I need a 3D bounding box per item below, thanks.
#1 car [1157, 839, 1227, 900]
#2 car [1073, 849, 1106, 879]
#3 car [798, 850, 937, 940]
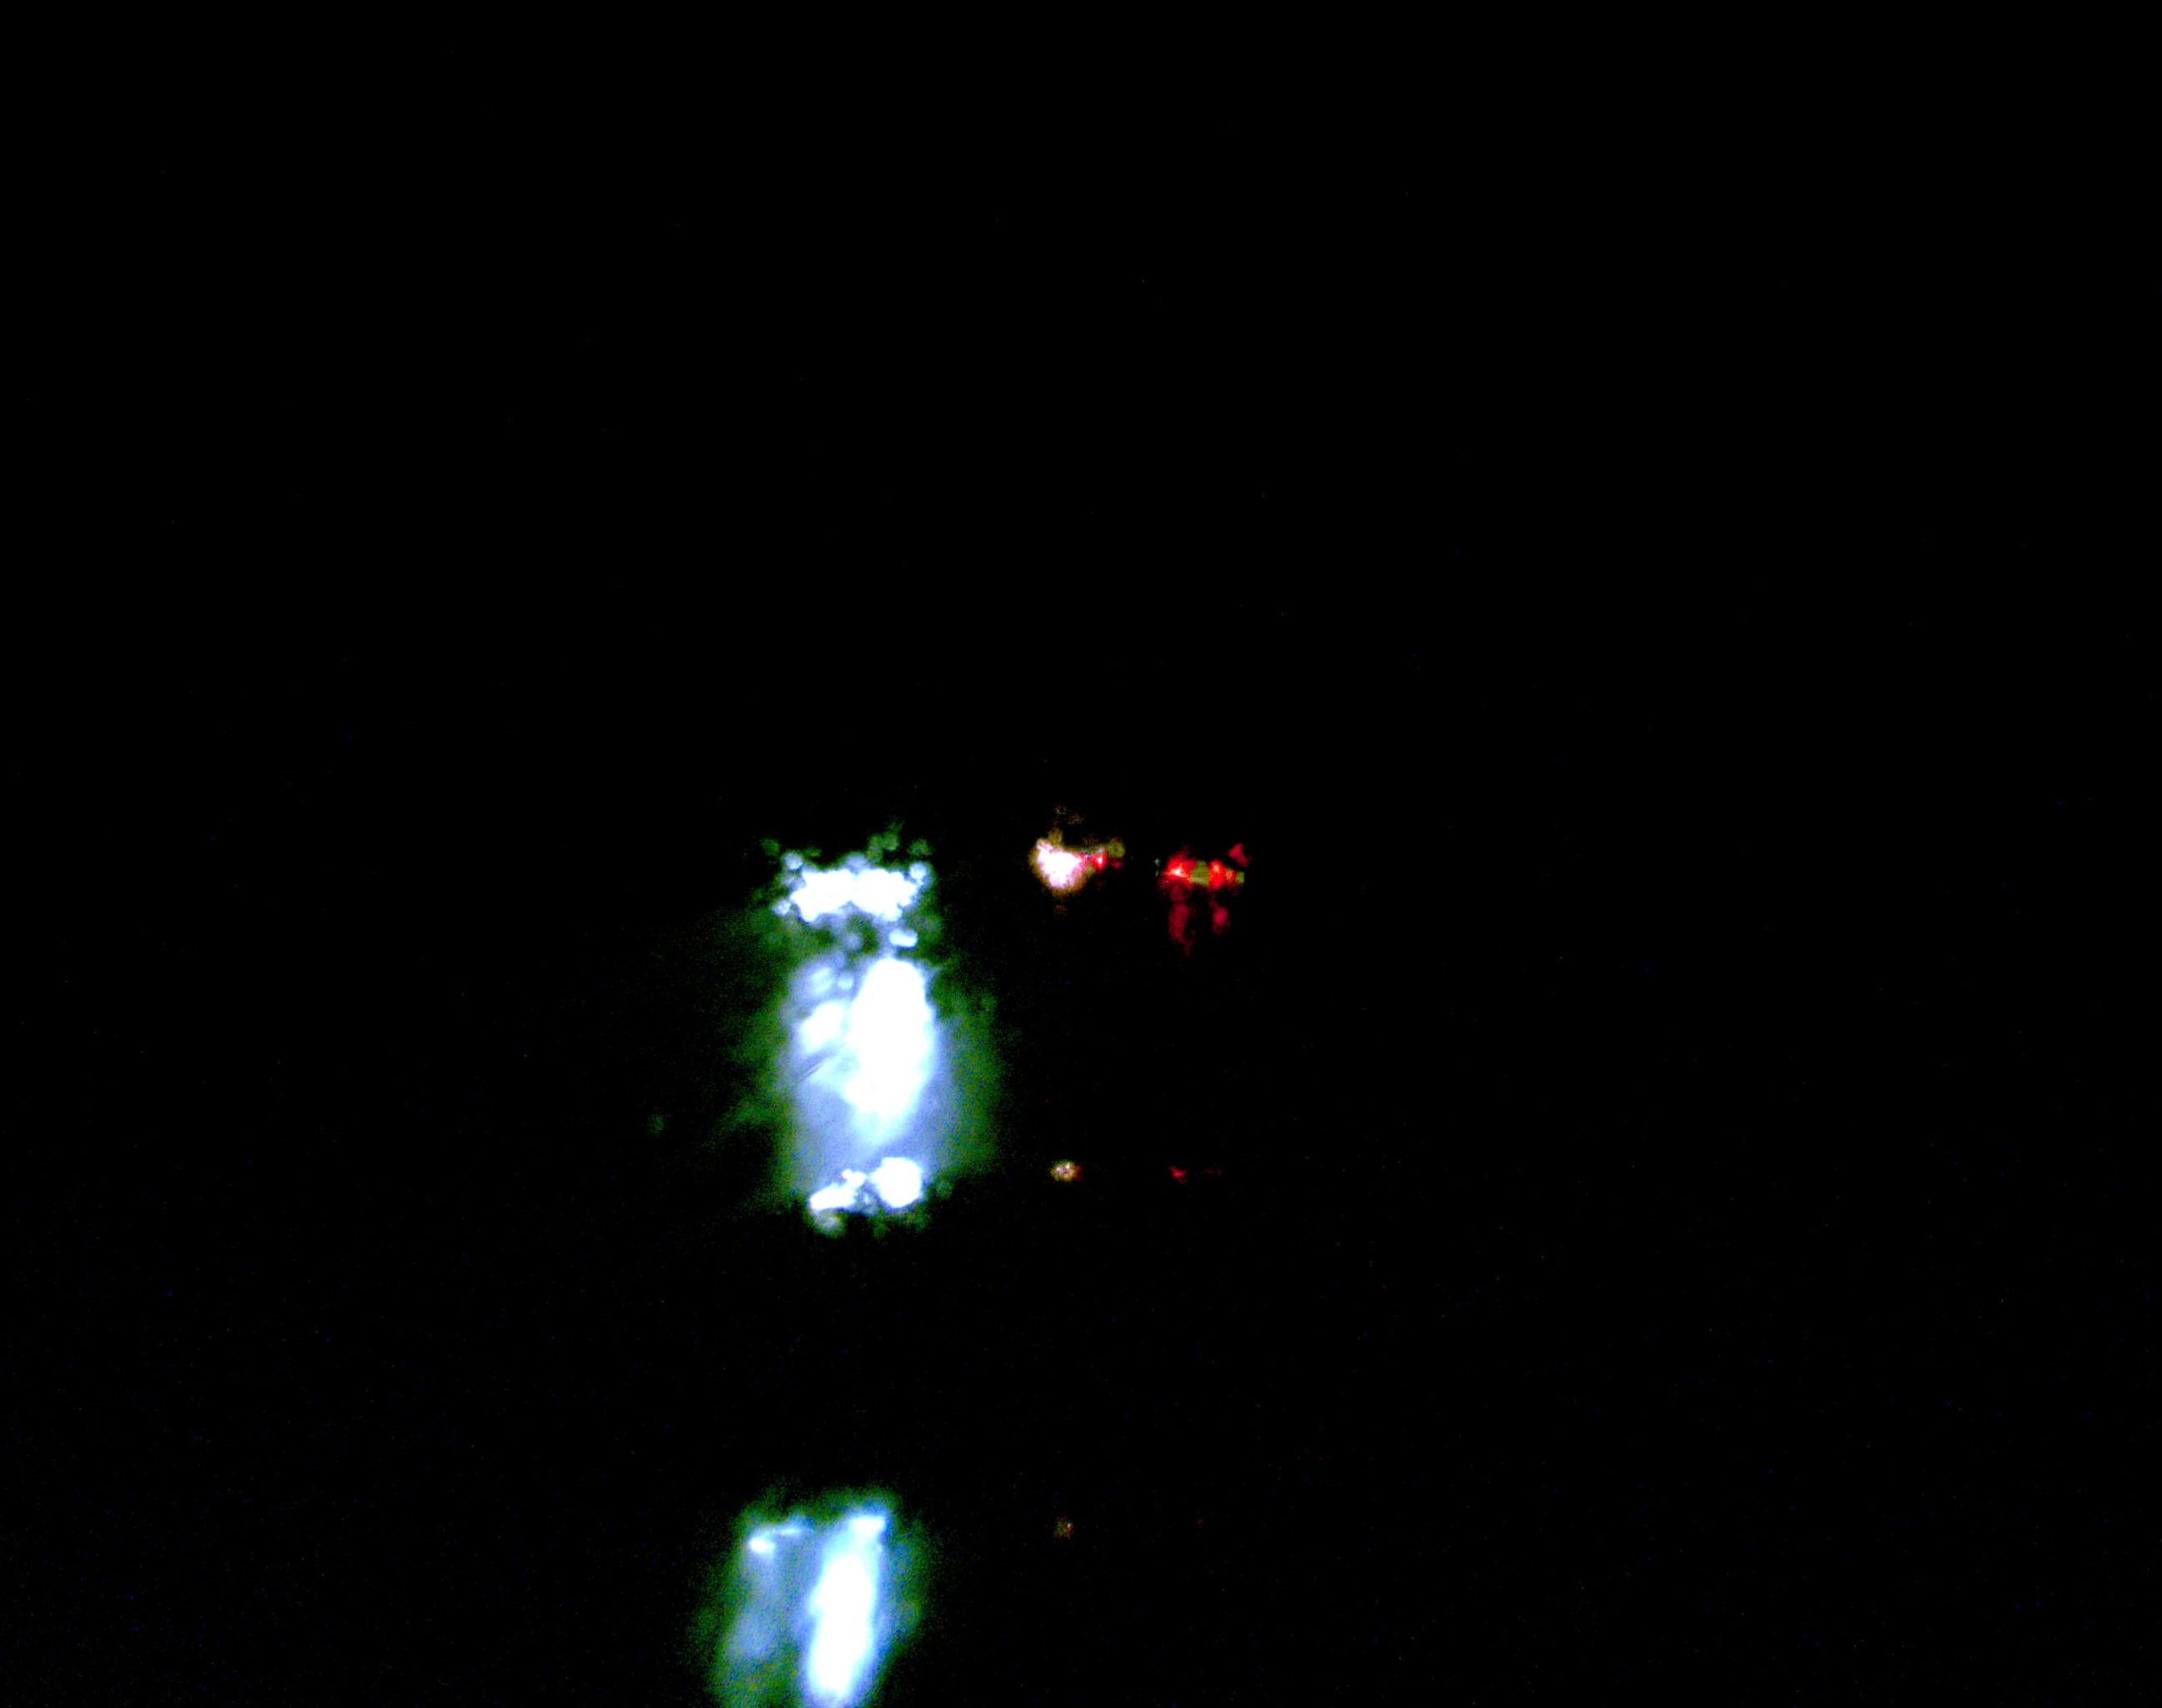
[{"bbox_3d":[3.913,0.525,29.298,2.085,2.013,4.002,-1,0,2],"label":"car"},{"bbox_3d":[0.493,0.559,47.946,1.803,1.621,4.000,-1,0,0],"label":"car"},{"bbox_3d":[-4.299,0.759,17.064,1.803,1.621,4.000,-1,0,0],"label":"car"}]
